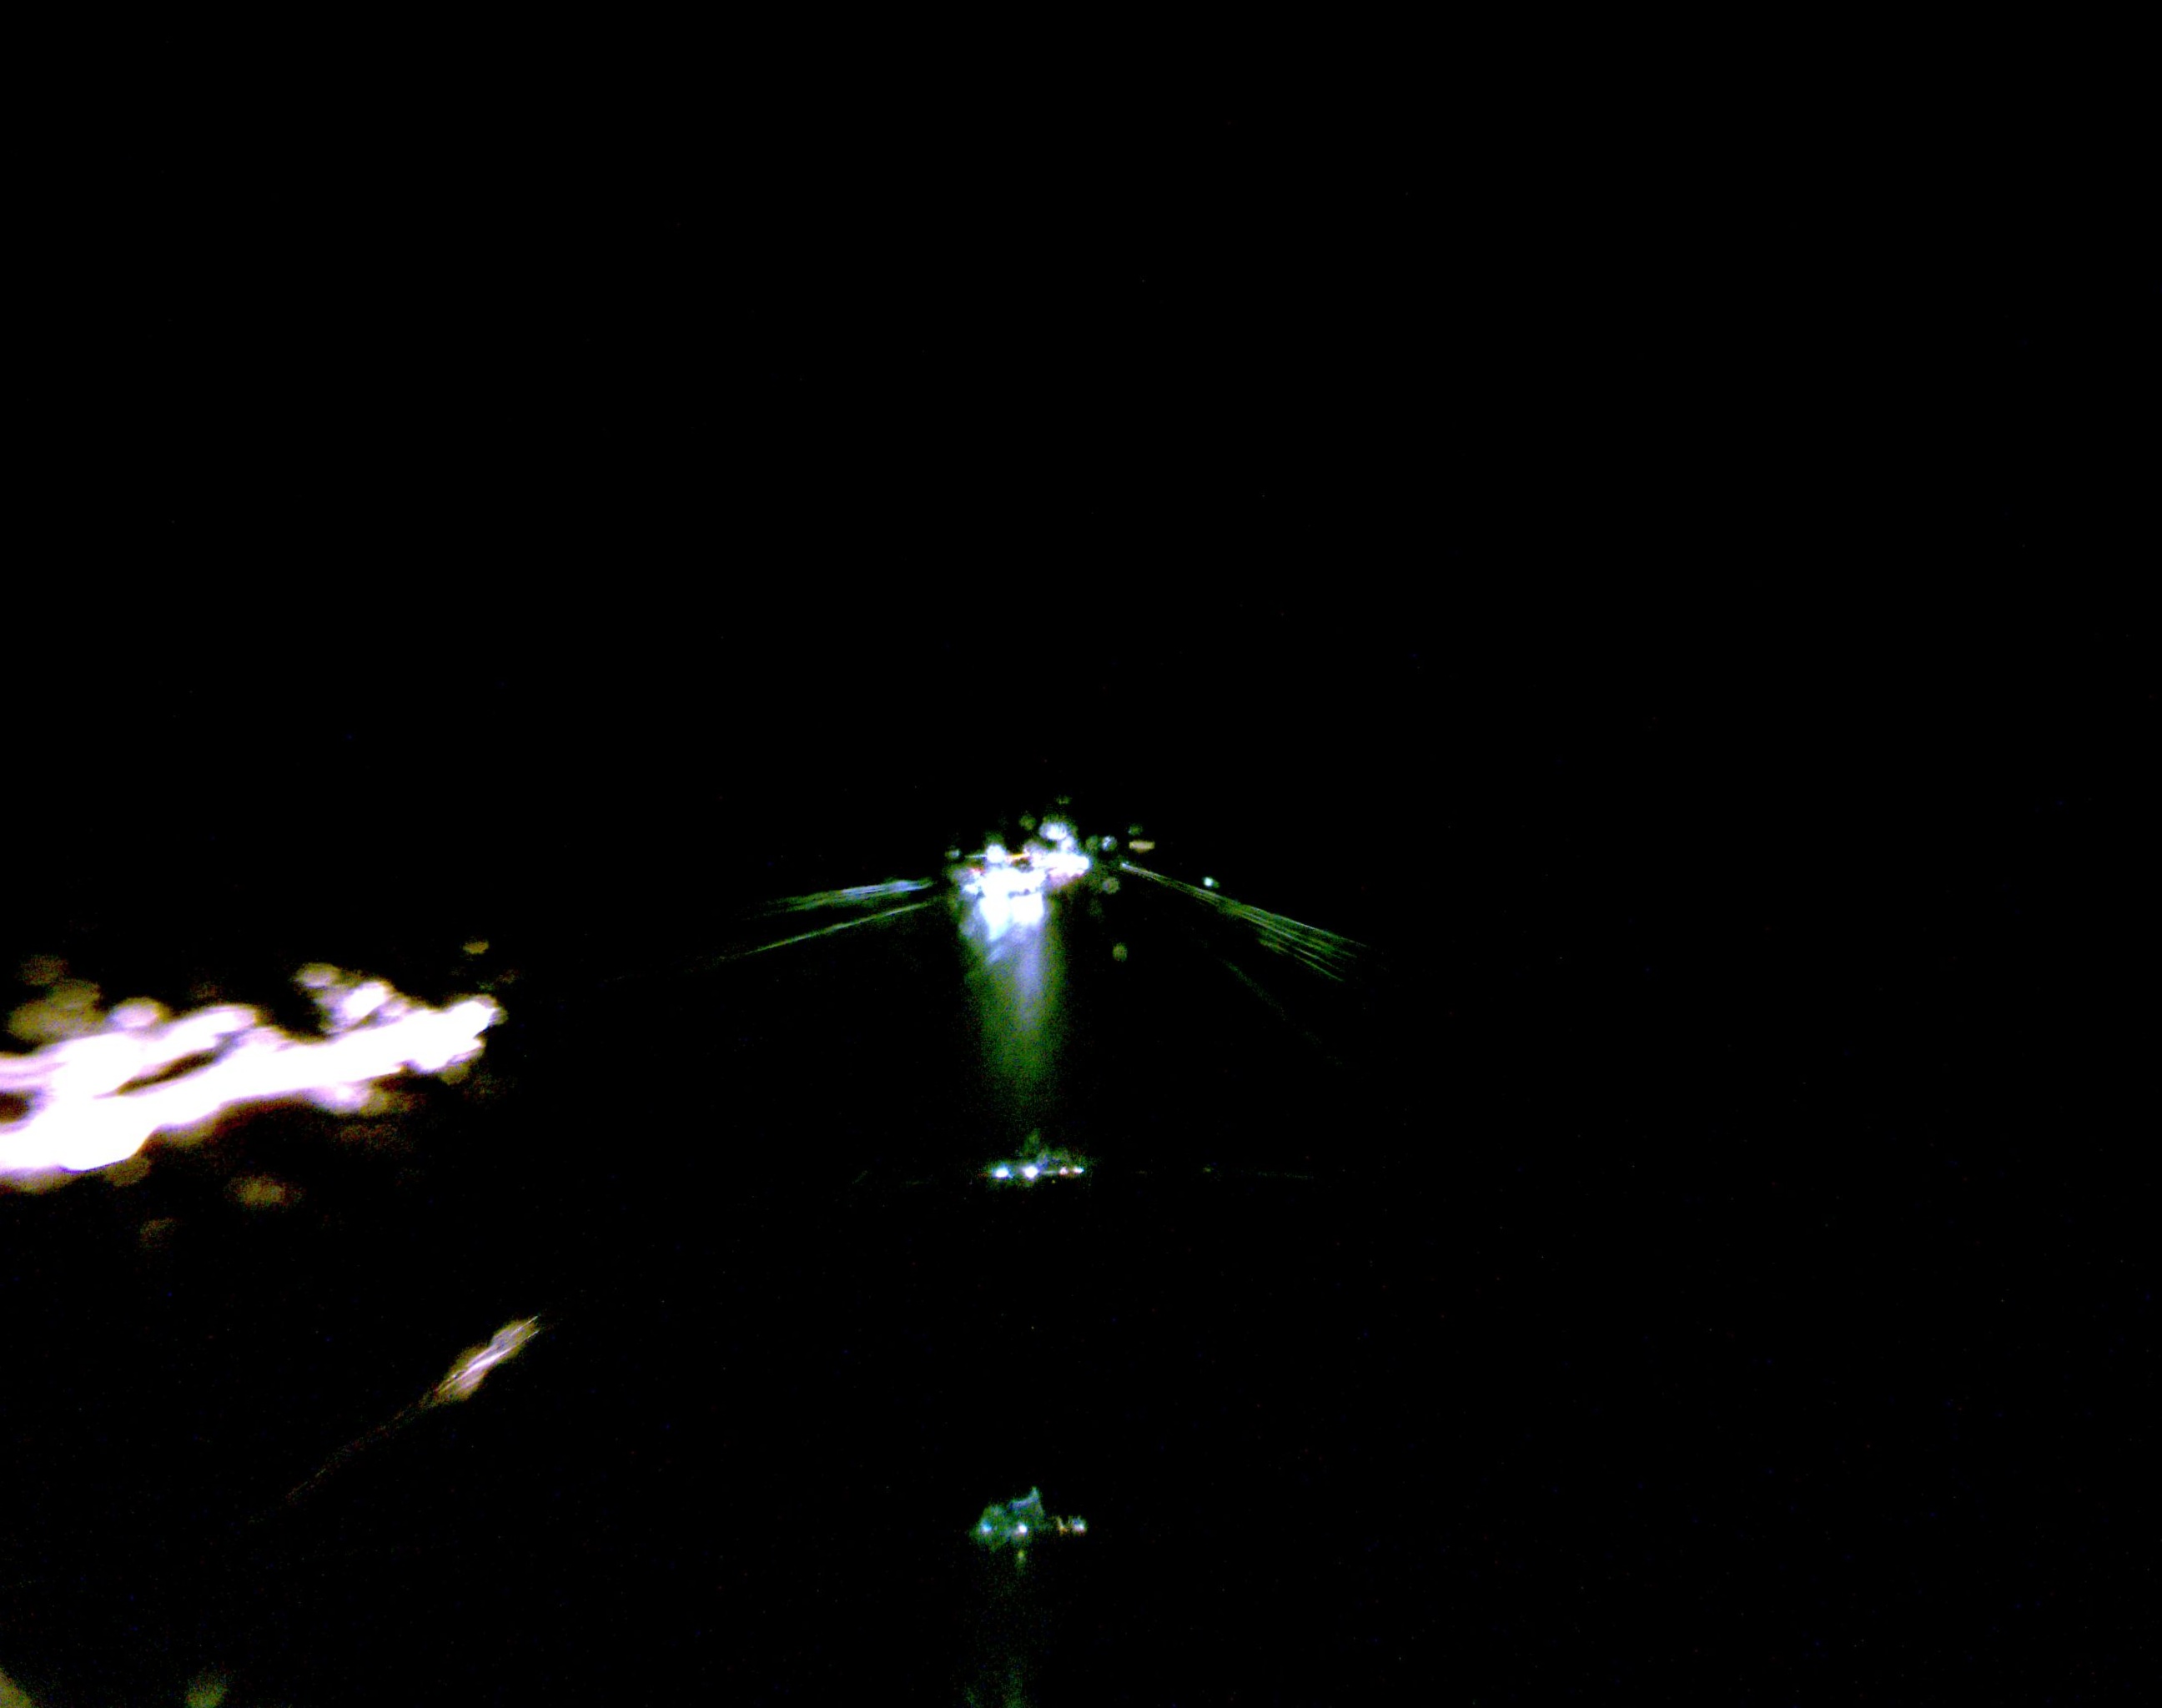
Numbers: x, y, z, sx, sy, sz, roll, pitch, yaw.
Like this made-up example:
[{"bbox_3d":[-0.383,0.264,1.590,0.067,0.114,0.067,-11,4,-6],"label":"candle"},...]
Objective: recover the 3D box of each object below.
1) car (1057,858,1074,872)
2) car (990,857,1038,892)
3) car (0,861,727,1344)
[{"bbox_3d":[-1.814,1.246,97.761,1.862,1.612,3.846,-1,0,0],"label":"car"},{"bbox_3d":[-2.767,0.836,34.259,1.635,1.359,3.681,-1,0,0],"label":"car"},{"bbox_3d":[-3.435,0.784,4.230,1.659,1.456,3.426,-1,0,0],"label":"car"}]
